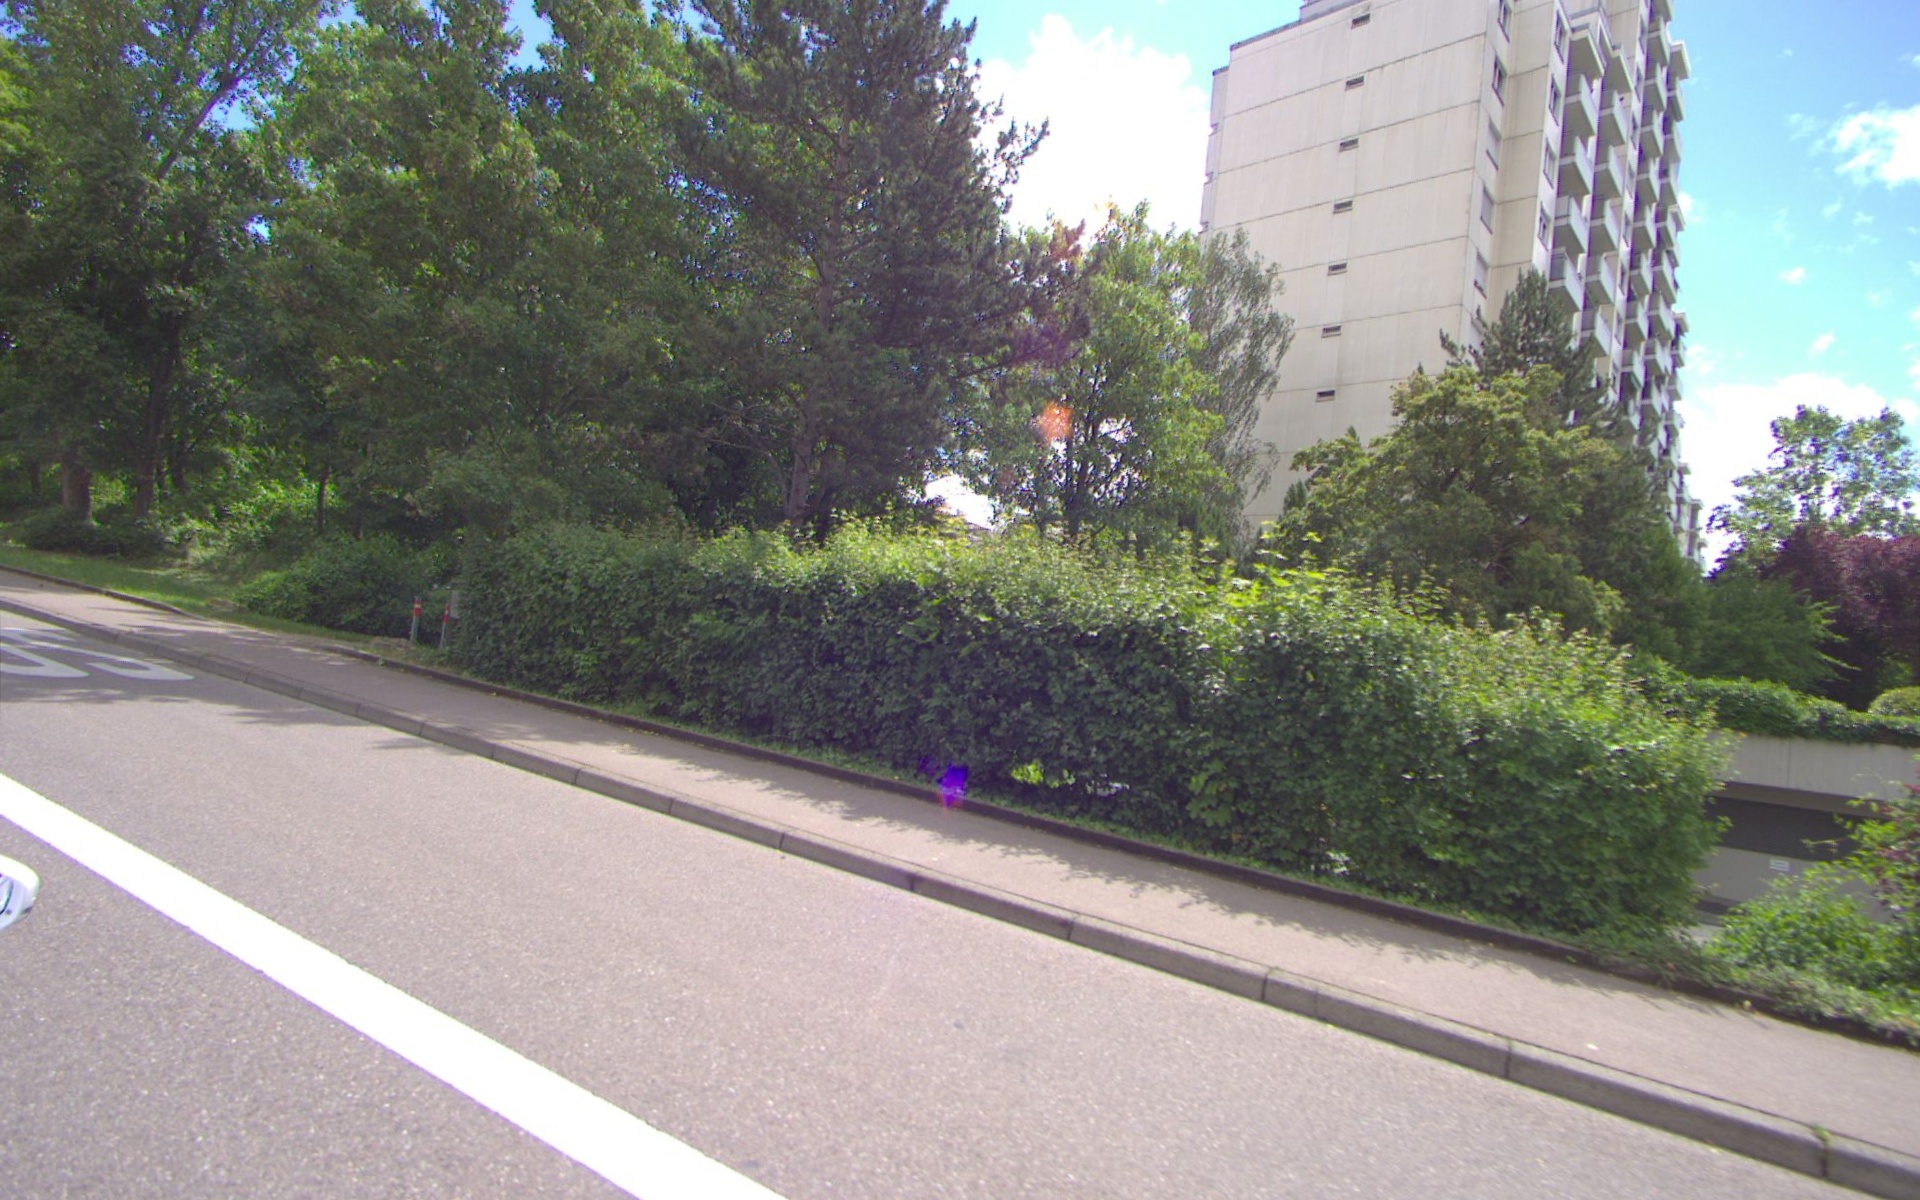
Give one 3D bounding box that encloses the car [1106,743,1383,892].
[{"bbox_3d":[4.708,3.493,16.808,3.936,1.486,1.872,7,-1,34],"label":"car"}]
